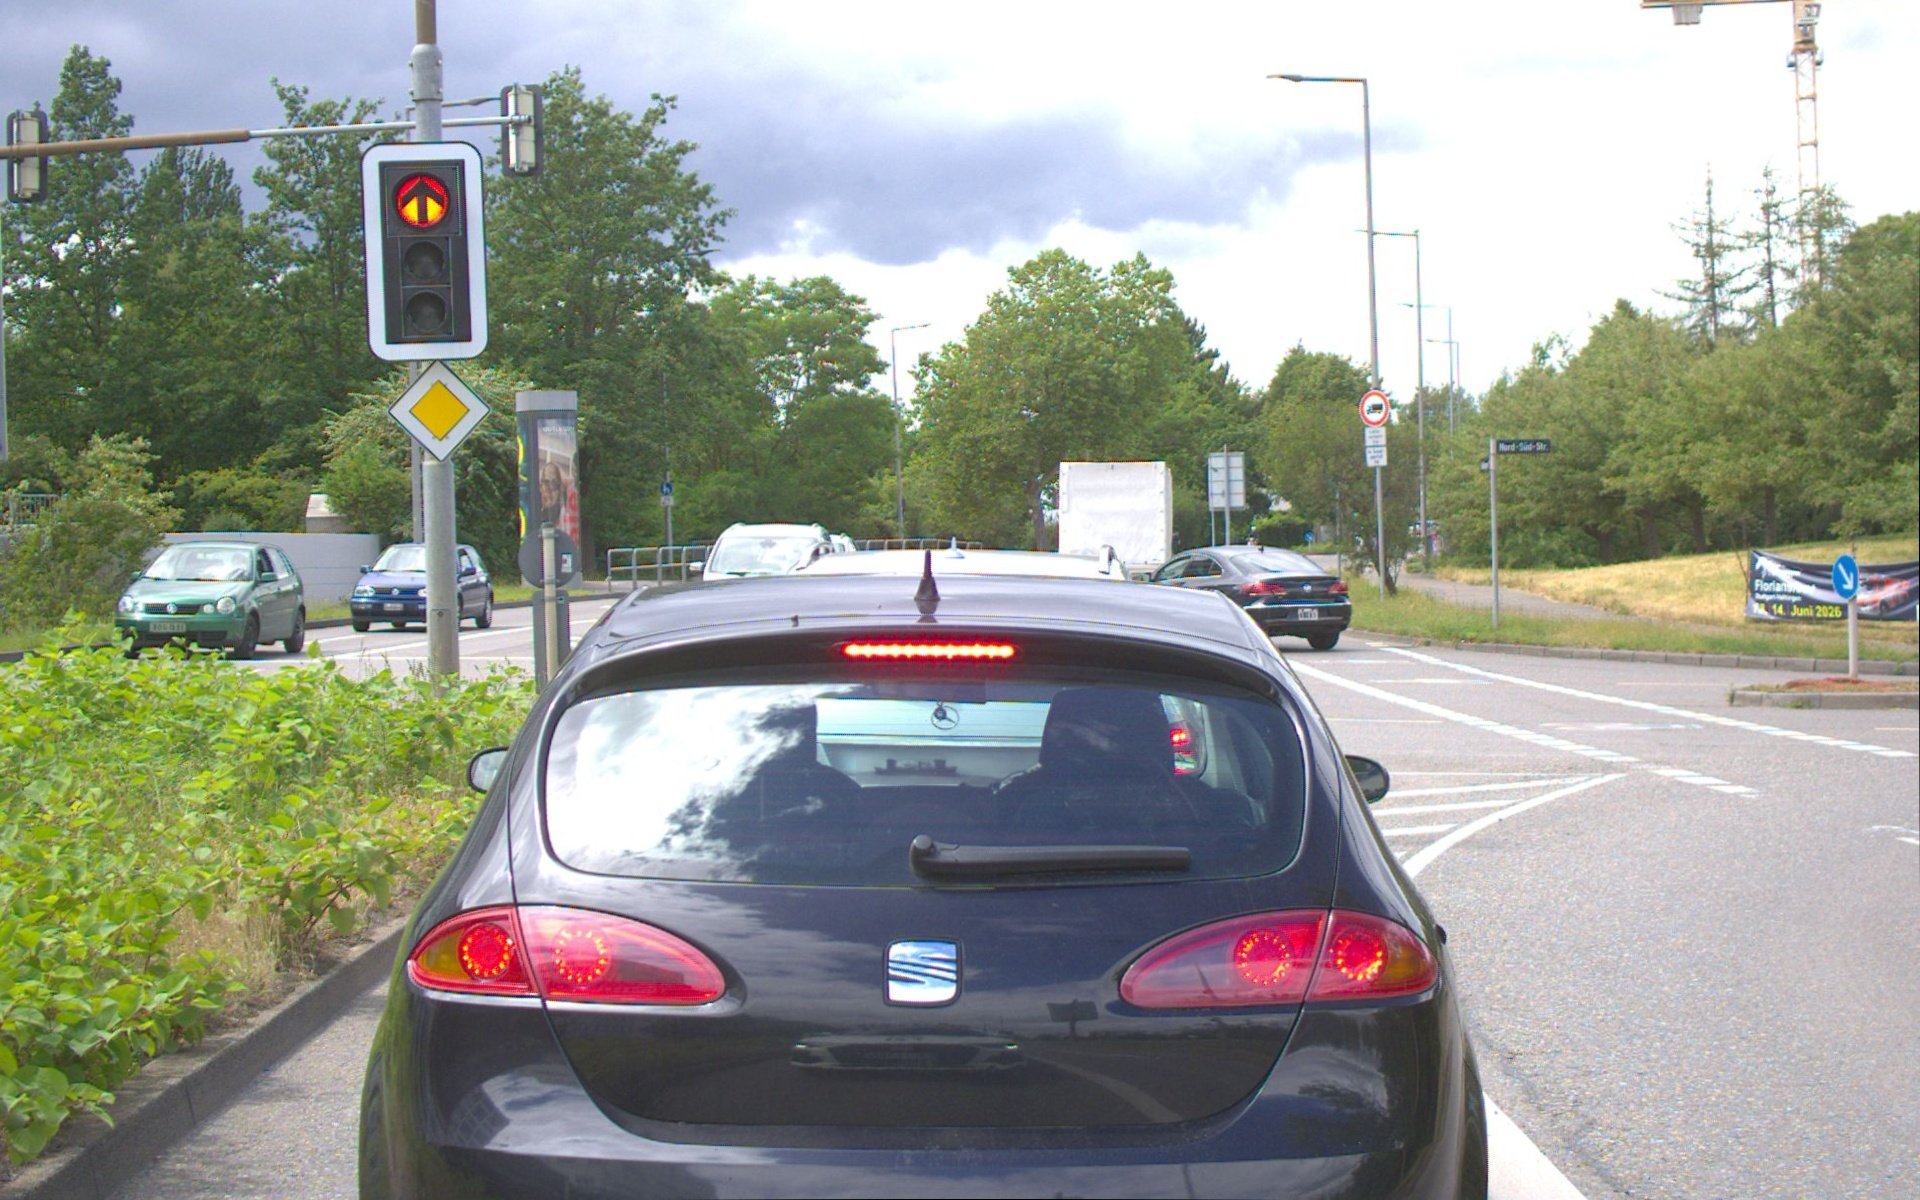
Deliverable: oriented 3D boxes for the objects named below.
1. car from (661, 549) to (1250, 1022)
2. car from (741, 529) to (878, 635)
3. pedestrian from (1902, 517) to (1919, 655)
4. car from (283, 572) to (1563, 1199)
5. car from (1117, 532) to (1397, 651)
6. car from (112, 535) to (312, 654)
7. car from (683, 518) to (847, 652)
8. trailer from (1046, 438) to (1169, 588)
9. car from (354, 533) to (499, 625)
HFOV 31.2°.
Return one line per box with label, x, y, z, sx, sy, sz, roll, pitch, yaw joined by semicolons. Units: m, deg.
car;0.006;0.565;12.705;1.834;1.462;3.751;1;1;1
car;-2.248;-0.302;52.276;1.660;1.513;4.084;1;1;3
pedestrian;12.761;-0.176;44.410;0.718;1.786;1.044;1;0;-13
car;-0.067;0.685;6.348;1.711;1.412;3.459;1;1;0
car;4.061;-0.163;47.744;1.993;1.560;4.472;-1;1;-23
car;-9.391;-0.101;43.412;1.605;1.427;3.752;0;1;2
car;-2.566;-0.249;46.200;1.820;1.681;4.645;1;1;1
trailer;3.198;-1.823;73.616;2.491;3.063;5.586;1;1;3
car;-8.600;-0.368;55.673;1.554;1.414;3.895;0;1;3
